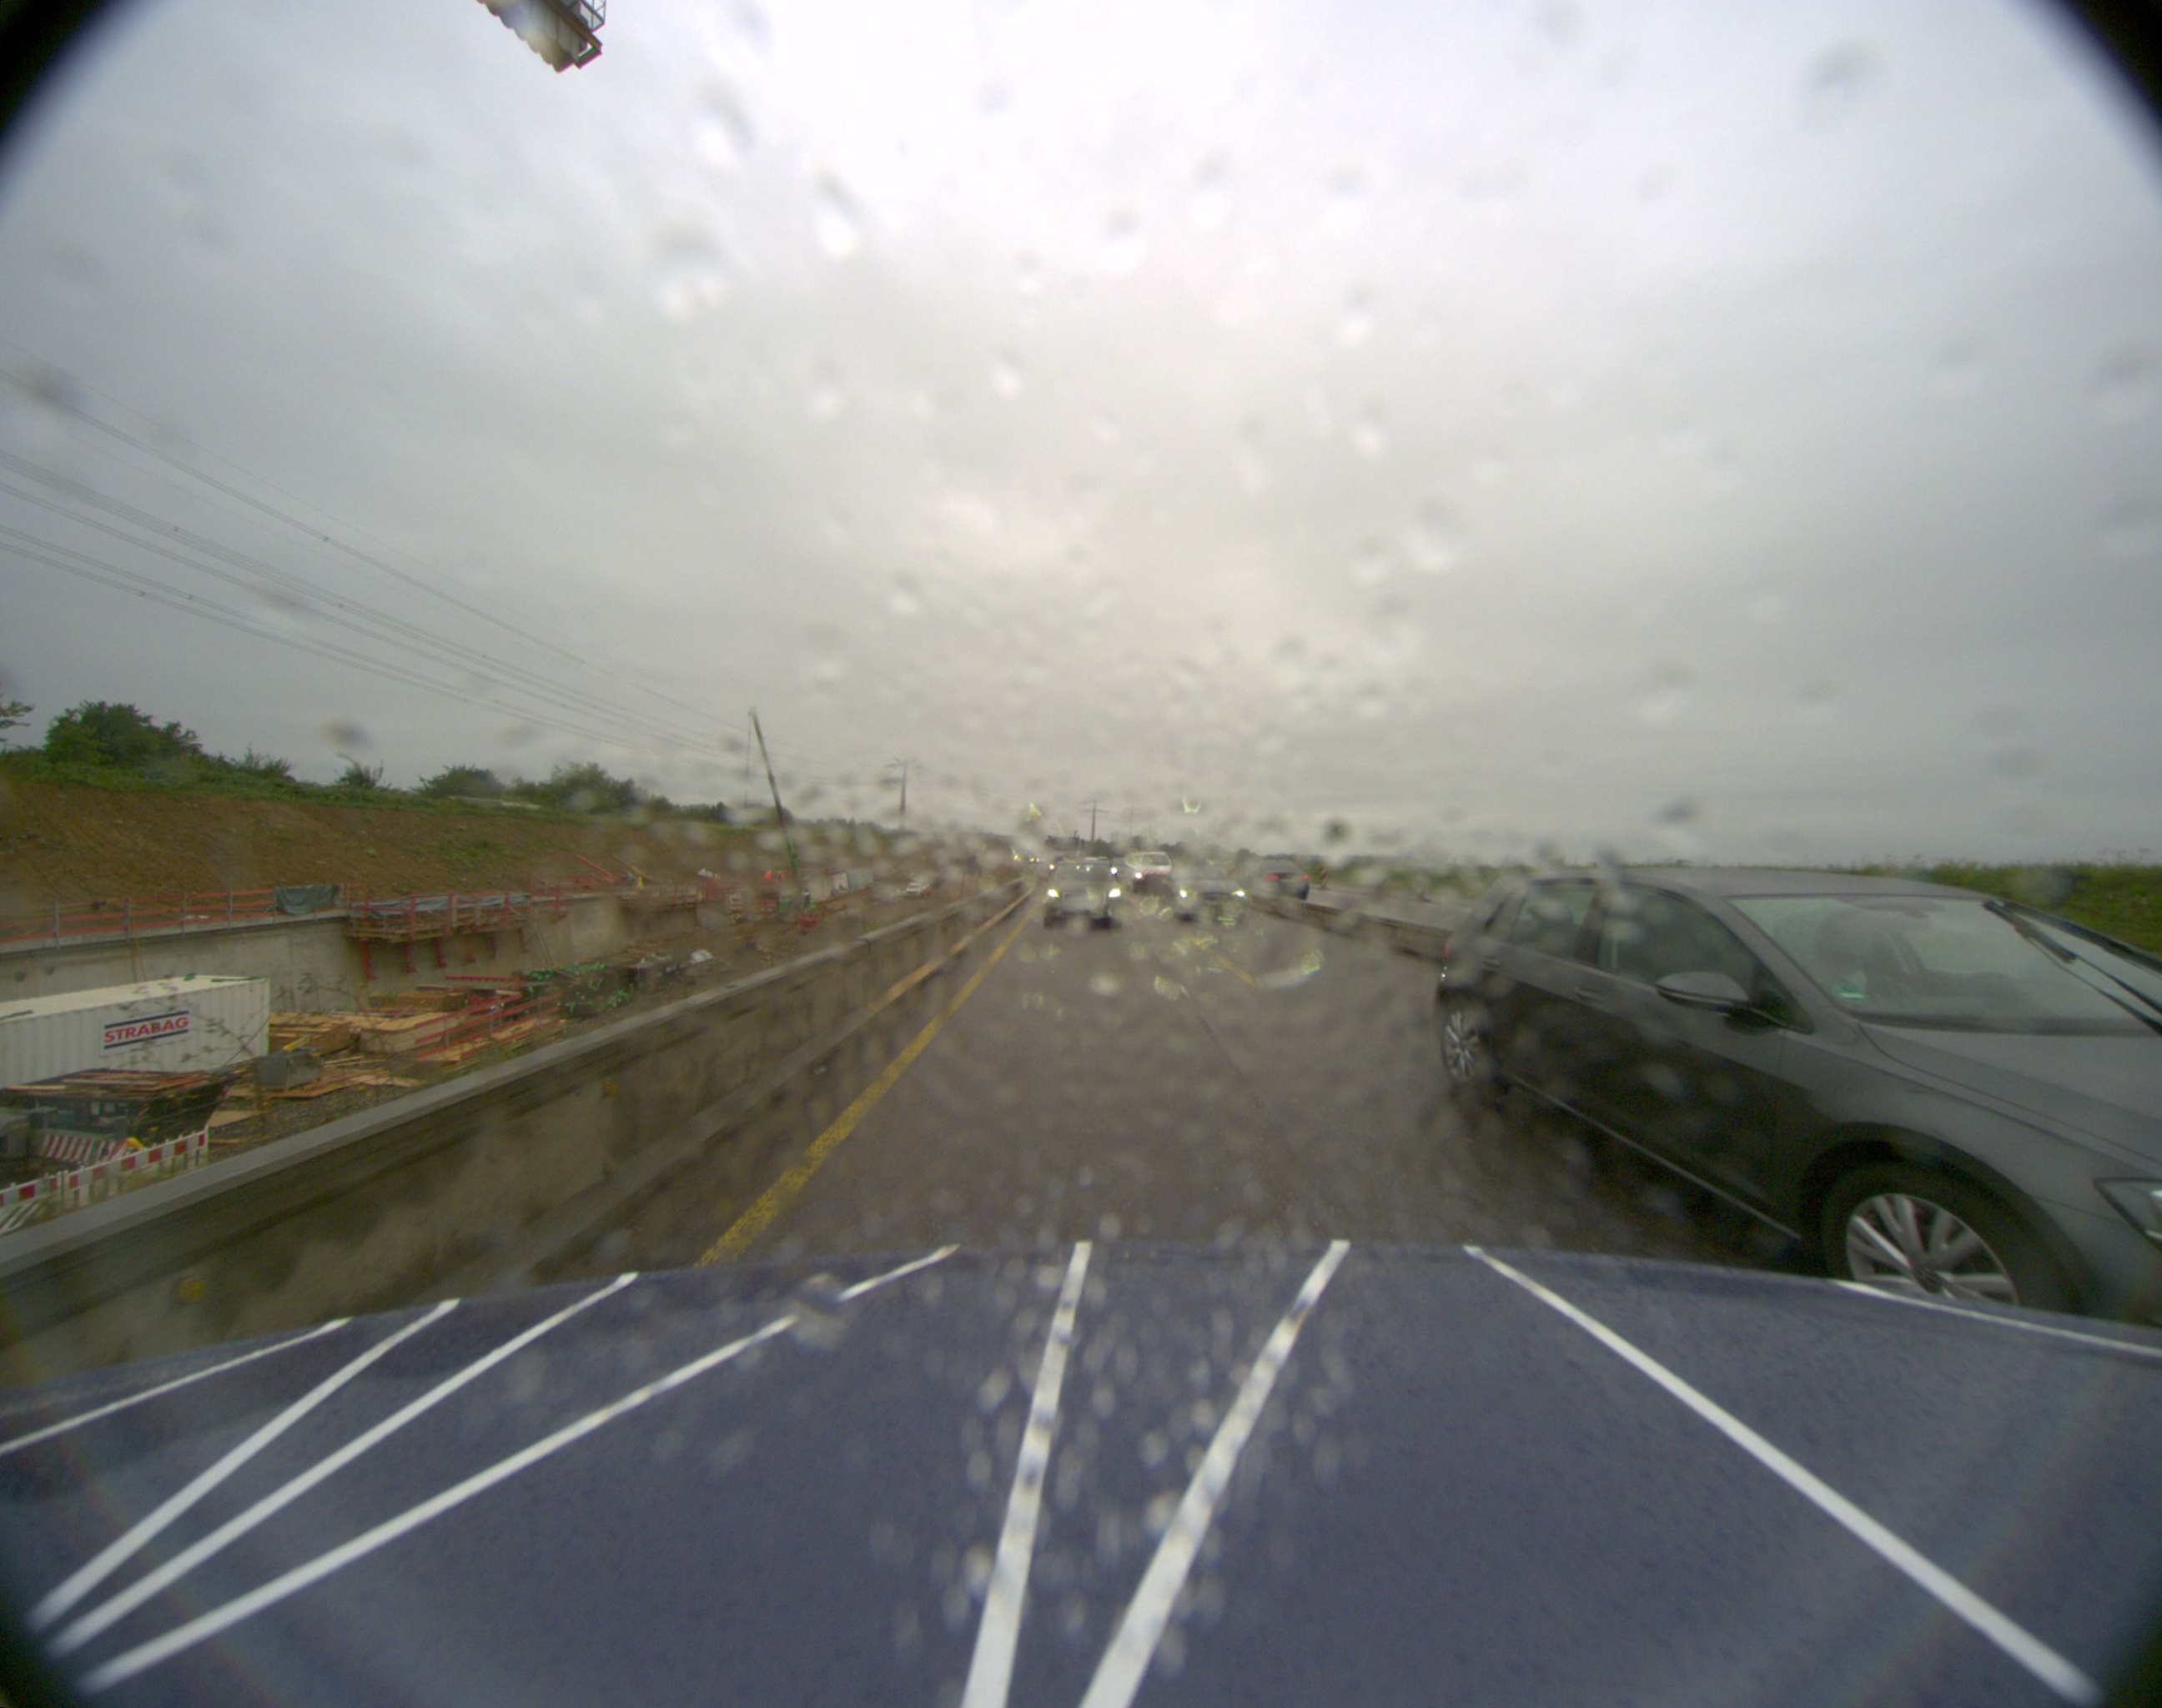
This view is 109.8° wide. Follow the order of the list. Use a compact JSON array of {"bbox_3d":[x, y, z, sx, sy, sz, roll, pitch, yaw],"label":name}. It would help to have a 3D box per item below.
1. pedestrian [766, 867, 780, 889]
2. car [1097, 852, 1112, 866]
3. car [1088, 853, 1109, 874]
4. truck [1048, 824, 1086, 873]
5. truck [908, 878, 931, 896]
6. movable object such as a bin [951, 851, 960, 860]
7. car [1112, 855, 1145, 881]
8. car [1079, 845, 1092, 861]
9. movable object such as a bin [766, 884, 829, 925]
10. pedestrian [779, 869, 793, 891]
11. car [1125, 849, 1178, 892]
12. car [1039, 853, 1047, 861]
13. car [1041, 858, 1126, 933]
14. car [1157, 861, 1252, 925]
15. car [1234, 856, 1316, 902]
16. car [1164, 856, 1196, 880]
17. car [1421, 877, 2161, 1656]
[{"bbox_3d":[-33.745,2.648,83.253,0.918,2.233,1.005,-5,2,-6],"label":"pedestrian"},{"bbox_3d":[3.138,0.653,101.264,1.795,1.713,4.287,-1,0,-1],"label":"car"},{"bbox_3d":[1.717,0.917,74.583,1.800,1.850,4.285,-1,1,-1],"label":"car"},{"bbox_3d":[-1.193,-0.485,61.654,2.837,3.617,9.117,-1,1,-2],"label":"truck"},{"bbox_3d":[-19.459,3.934,91.939,1.767,1.860,5.784,1,1,-3],"label":"truck"},{"bbox_3d":[-35.788,0.426,216.446,2.253,2.703,3.997,-1,1,-6],"label":"movable object such as a bin"},{"bbox_3d":[2.985,0.865,48.648,1.800,1.521,4.066,-1,1,0],"label":"car"},{"bbox_3d":[0.714,-0.133,129.699,2.029,2.533,5.957,0,0,-1],"label":"car"},{"bbox_3d":[-24.594,4.349,66.256,3.803,2.790,4.848,0,6,-4],"label":"movable object such as a bin"},{"bbox_3d":[-32.366,2.834,83.384,0.917,2.219,1.005,-5,2,1],"label":"pedestrian"},{"bbox_3d":[3.254,0.716,36.096,2.160,1.848,5.179,-1,1,2],"label":"car"},{"bbox_3d":[-8.737,0.675,175.400,1.800,1.850,4.285,-1,1,-3],"label":"car"},{"bbox_3d":[0.118,0.904,18.399,1.799,1.524,4.308,-1,0,2],"label":"car"},{"bbox_3d":[3.134,0.934,20.141,1.799,1.389,4.268,-1,1,0],"label":"car"},{"bbox_3d":[7.336,0.896,29.207,1.923,1.576,4.895,-1,0,1],"label":"car"},{"bbox_3d":[6.589,0.904,50.719,1.670,1.457,3.732,-1,0,0],"label":"car"},{"bbox_3d":[3.065,0.898,3.059,1.653,1.414,4.080,0,1,2],"label":"car"}]
